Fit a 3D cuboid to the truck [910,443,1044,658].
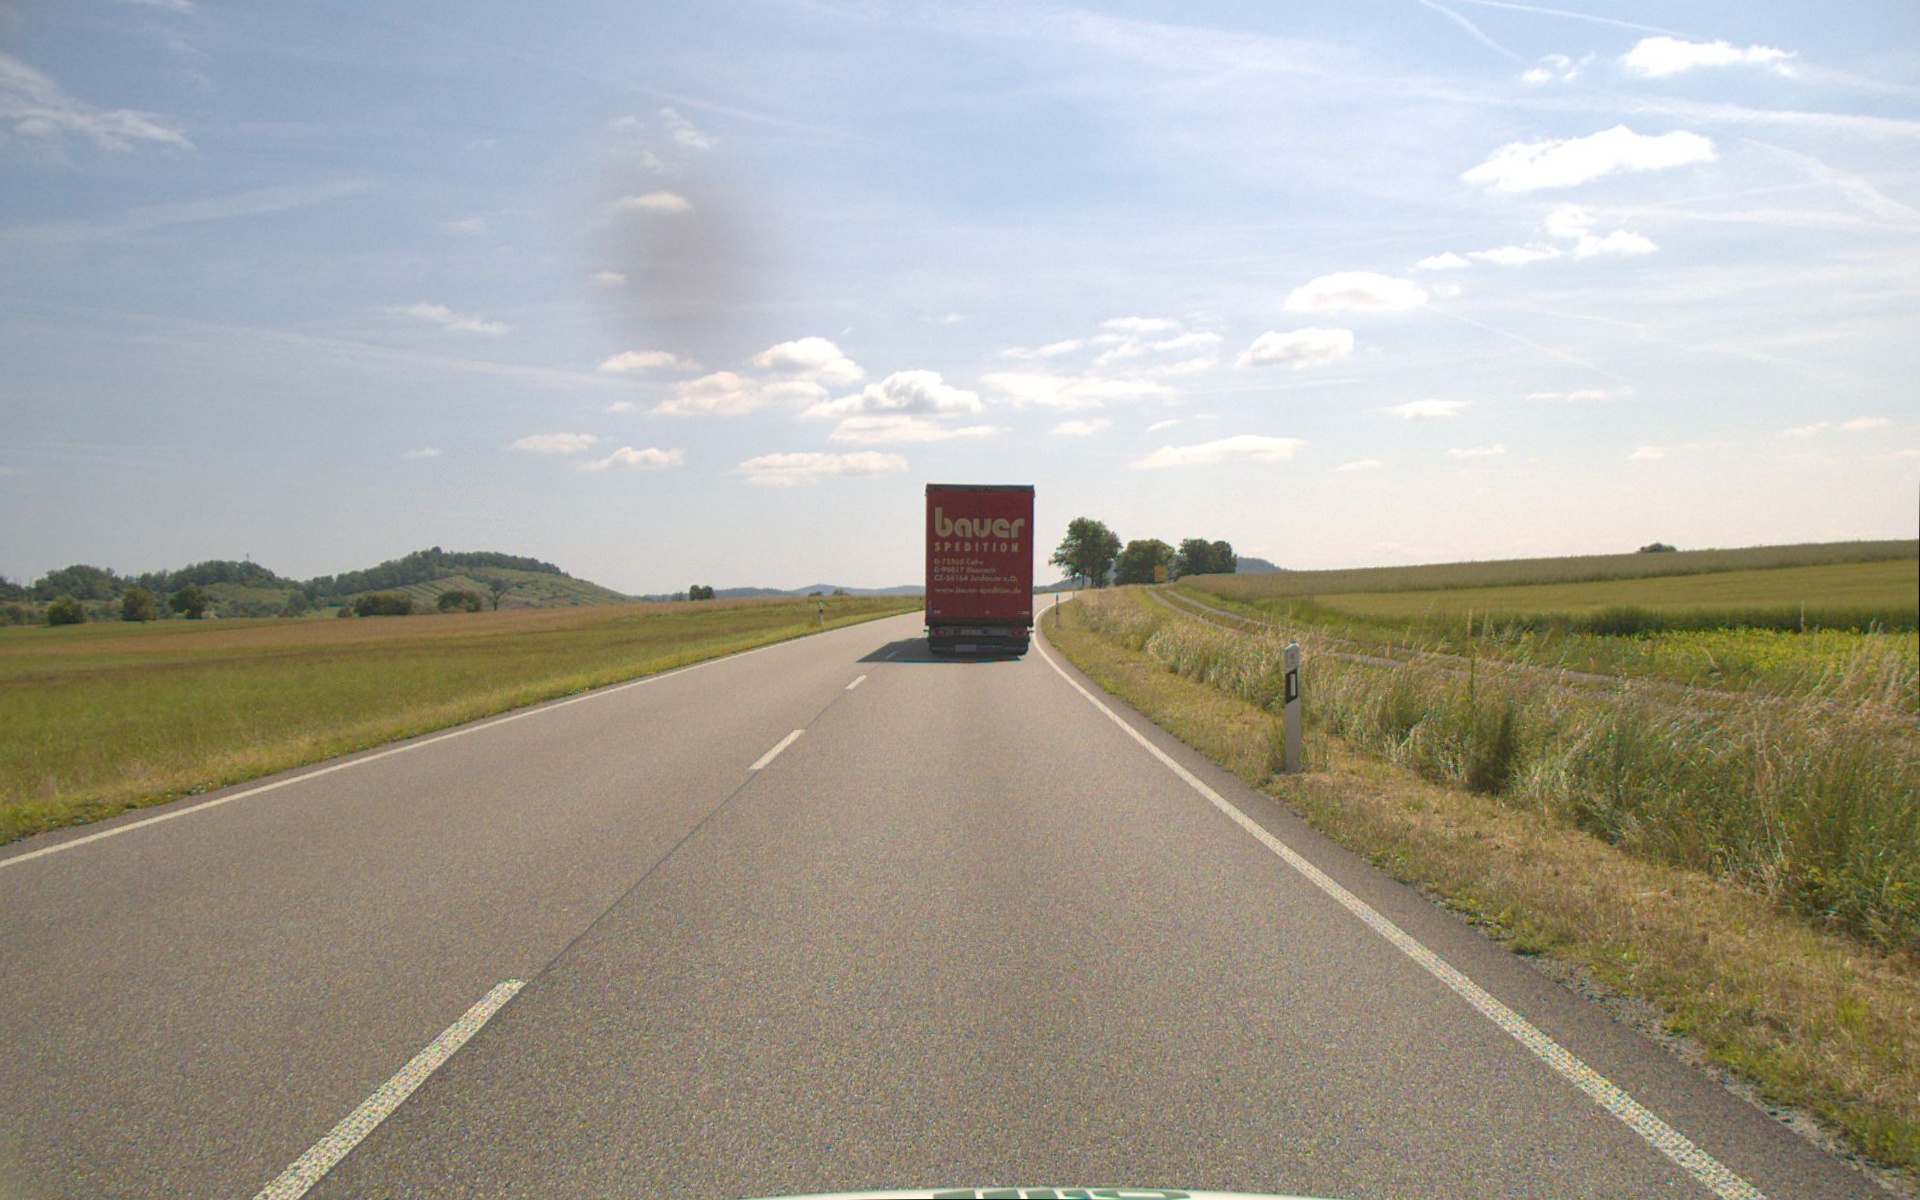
[{"bbox_3d":[0.447,-1.148,42.285,2.914,4.795,9.367,2,0,1],"label":"truck"}]
